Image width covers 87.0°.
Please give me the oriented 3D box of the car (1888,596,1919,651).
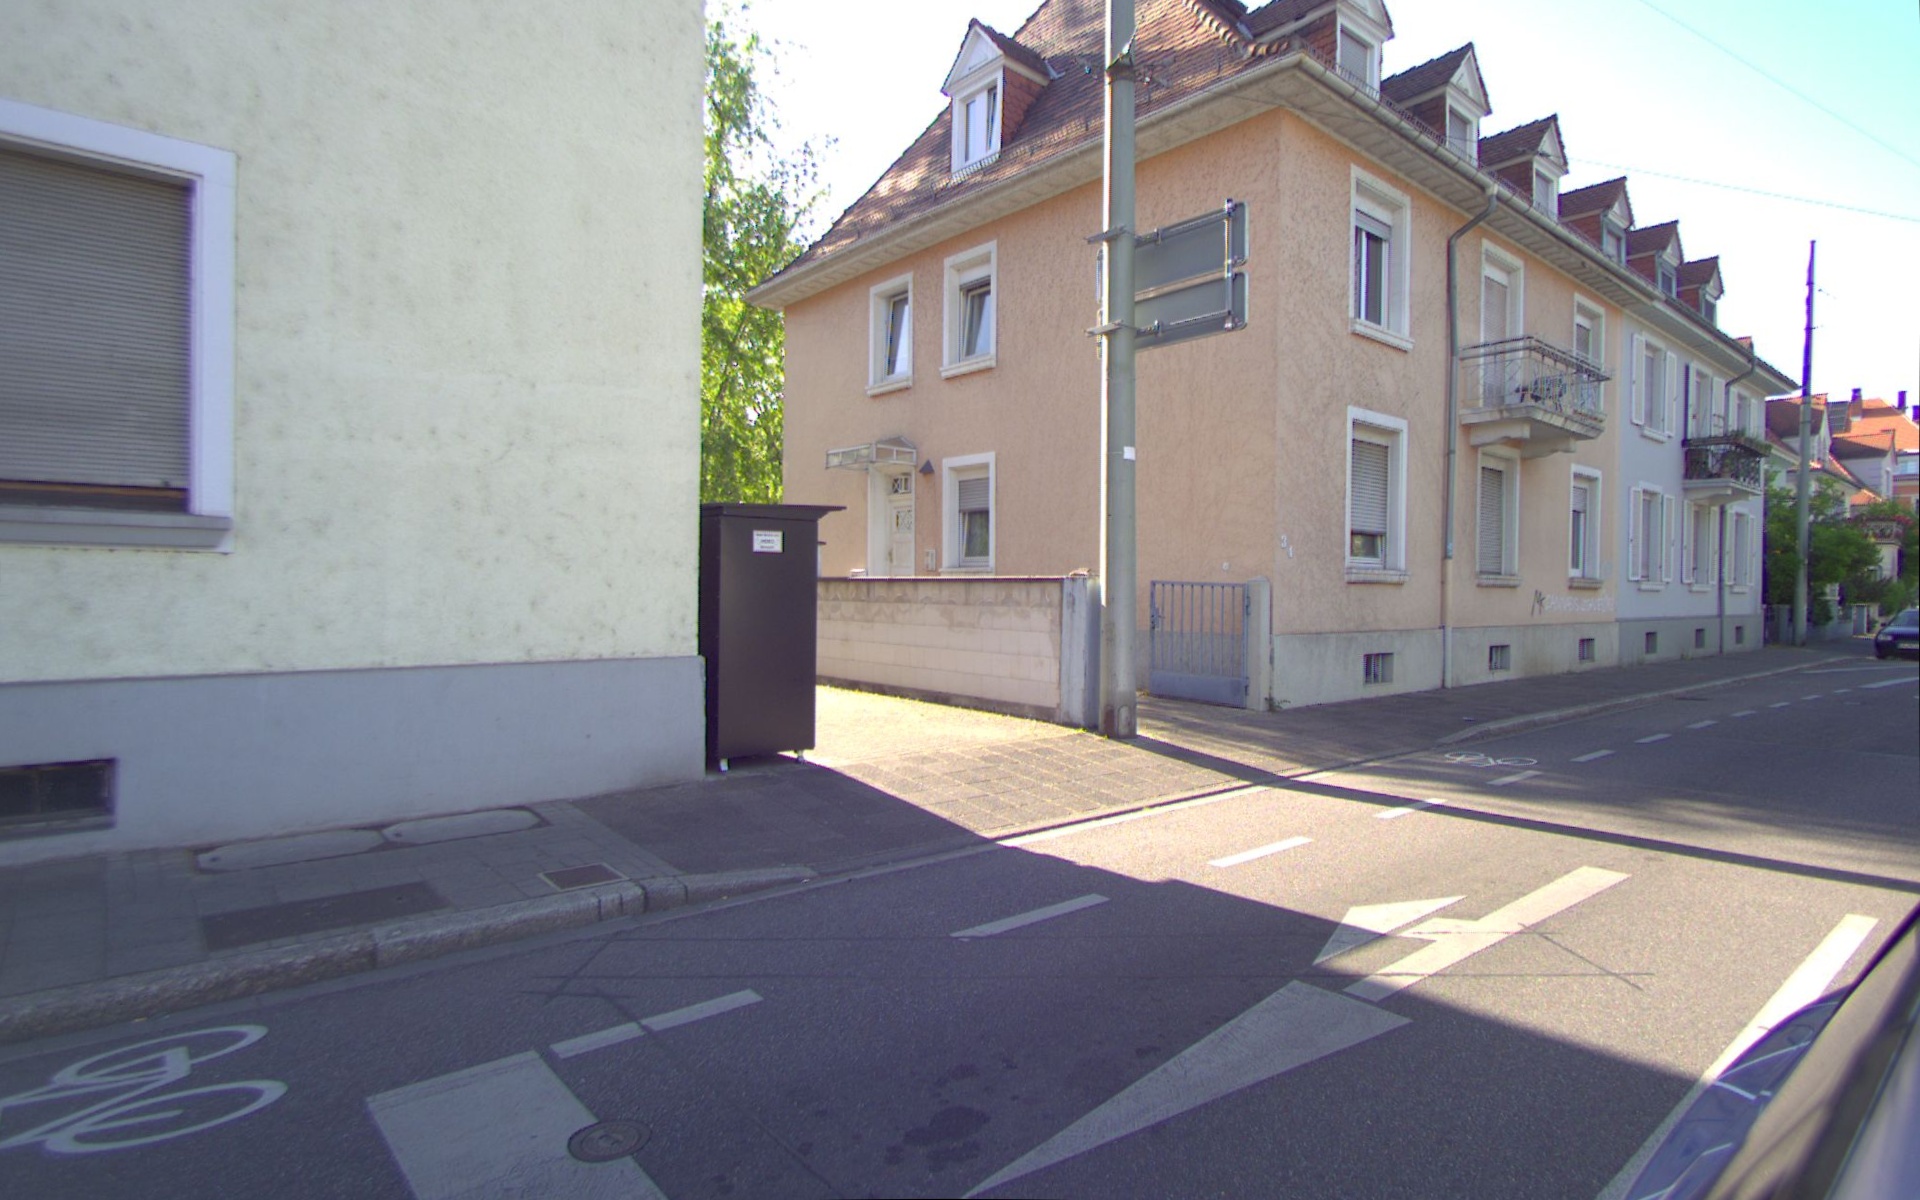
[{"bbox_3d":[26.711,0.619,27.396,4.347,1.425,1.866,0,1,-41],"label":"car"}]
